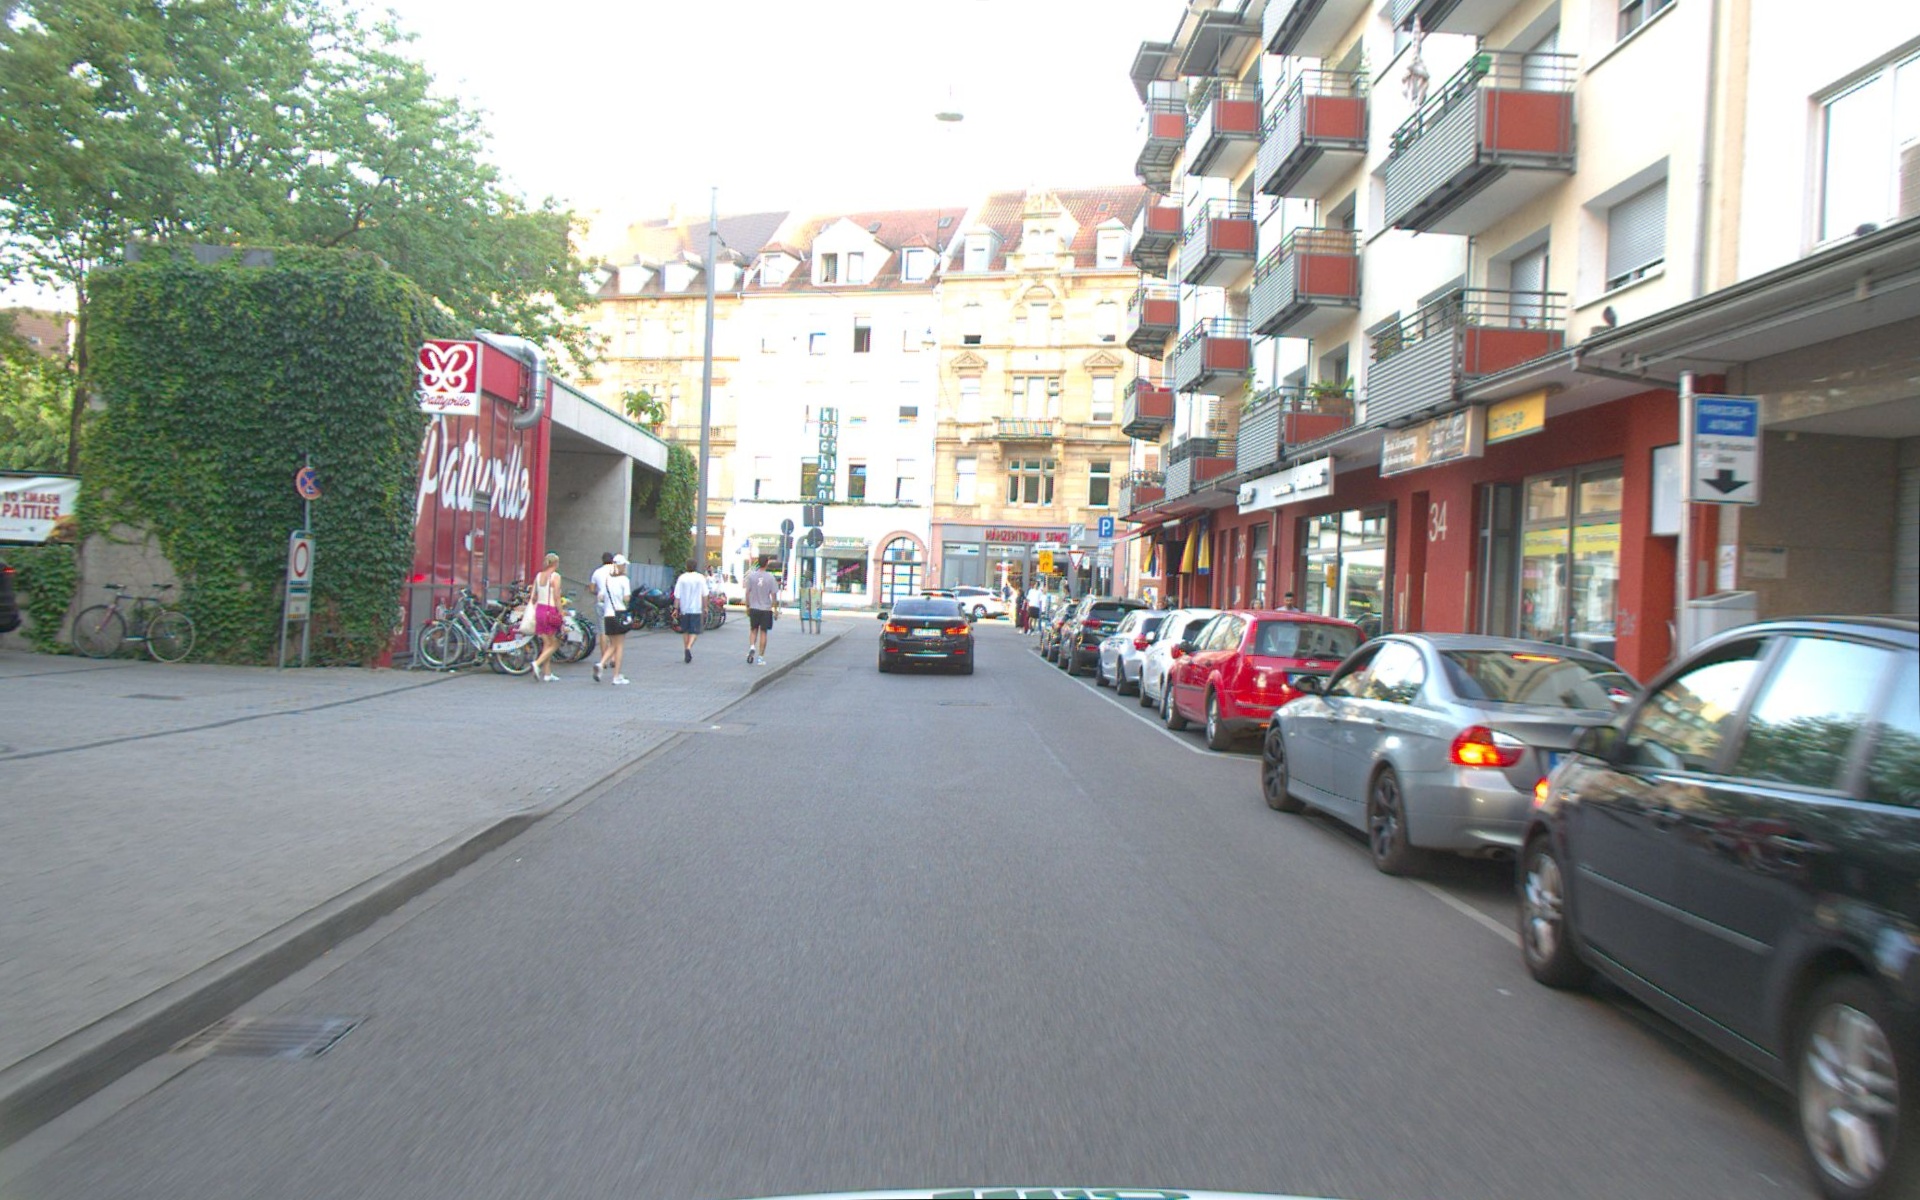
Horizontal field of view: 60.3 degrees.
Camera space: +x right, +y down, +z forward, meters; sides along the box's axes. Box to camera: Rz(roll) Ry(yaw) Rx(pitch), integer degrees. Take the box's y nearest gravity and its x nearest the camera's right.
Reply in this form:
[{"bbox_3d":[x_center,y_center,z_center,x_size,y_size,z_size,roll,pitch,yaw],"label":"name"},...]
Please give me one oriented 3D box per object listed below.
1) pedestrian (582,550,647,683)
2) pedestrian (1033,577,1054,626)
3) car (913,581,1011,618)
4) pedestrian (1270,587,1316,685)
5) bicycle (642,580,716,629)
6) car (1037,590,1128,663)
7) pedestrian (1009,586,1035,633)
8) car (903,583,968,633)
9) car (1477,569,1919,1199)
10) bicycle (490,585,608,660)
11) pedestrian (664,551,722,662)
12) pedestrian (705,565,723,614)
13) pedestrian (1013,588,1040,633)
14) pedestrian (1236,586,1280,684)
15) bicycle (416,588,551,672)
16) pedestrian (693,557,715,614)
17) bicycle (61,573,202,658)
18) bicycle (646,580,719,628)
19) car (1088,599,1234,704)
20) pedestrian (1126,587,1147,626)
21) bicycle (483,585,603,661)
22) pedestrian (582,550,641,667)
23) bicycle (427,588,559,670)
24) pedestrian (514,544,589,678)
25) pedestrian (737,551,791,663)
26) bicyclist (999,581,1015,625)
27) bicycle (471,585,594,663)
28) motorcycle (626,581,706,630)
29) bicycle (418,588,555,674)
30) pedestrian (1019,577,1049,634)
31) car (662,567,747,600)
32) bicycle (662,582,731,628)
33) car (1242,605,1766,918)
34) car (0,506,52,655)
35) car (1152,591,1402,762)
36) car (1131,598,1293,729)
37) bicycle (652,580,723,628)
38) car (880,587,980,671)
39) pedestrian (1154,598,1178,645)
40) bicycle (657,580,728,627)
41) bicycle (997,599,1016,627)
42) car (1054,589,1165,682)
[{"bbox_3d":[-4.821,0.220,23.124,0.636,1.780,0.985,3,0,-2],"label":"pedestrian"},{"bbox_3d":[3.054,0.054,60.318,0.592,1.776,0.670,2,0,13],"label":"pedestrian"},{"bbox_3d":[0.106,-0.016,79.172,4.263,1.589,1.868,2,0,21],"label":"car"},{"bbox_3d":[5.835,0.625,29.014,0.635,1.690,0.794,-1,0,1],"label":"pedestrian"},{"bbox_3d":[-7.181,0.109,42.325,1.758,1.127,0.500,4,0,-2],"label":"bicycle"},{"bbox_3d":[2.982,0.609,41.111,1.729,1.528,4.790,5,1,-1],"label":"car"},{"bbox_3d":[2.224,0.348,59.394,0.711,1.636,0.649,4,0,-10],"label":"pedestrian"},{"bbox_3d":[-0.763,0.240,53.736,1.838,1.498,4.002,2,1,3],"label":"car"},{"bbox_3d":[3.320,0.800,5.735,1.757,1.637,4.488,5,1,3],"label":"car"},{"bbox_3d":[-6.758,0.365,27.222,1.757,1.127,0.500,3,0,2],"label":"bicycle"},{"bbox_3d":[-4.645,0.101,28.819,0.726,1.844,1.008,4,0,-2],"label":"pedestrian"},{"bbox_3d":[-8.371,-0.362,56.356,0.490,1.671,0.521,2,0,1],"label":"pedestrian"},{"bbox_3d":[2.356,0.367,58.673,0.722,1.539,0.649,4,0,-10],"label":"pedestrian"},{"bbox_3d":[5.230,0.604,29.040,0.635,1.690,0.655,-1,0,1],"label":"pedestrian"},{"bbox_3d":[-6.882,0.427,23.940,1.758,1.127,0.500,3,0,-3],"label":"bicycle"},{"bbox_3d":[-8.839,-0.503,57.177,0.571,1.915,0.634,2,0,5],"label":"pedestrian"},{"bbox_3d":[-10.965,0.206,21.912,1.626,1.031,0.370,3,0,0],"label":"bicycle"},{"bbox_3d":[-7.197,0.103,42.919,1.757,1.127,0.500,4,0,1],"label":"bicycle"},{"bbox_3d":[3.392,0.817,28.691,1.665,1.477,4.456,5,1,-3],"label":"car"},{"bbox_3d":[5.544,0.191,51.954,0.415,1.222,0.529,-1,0,-44],"label":"pedestrian"},{"bbox_3d":[-6.743,0.368,26.752,1.757,1.127,0.500,3,0,2],"label":"bicycle"},{"bbox_3d":[-5.473,0.125,25.999,0.702,1.785,0.848,2,0,-2],"label":"pedestrian"},{"bbox_3d":[-6.895,0.421,24.475,1.758,1.127,0.500,3,0,-3],"label":"bicycle"},{"bbox_3d":[-5.669,0.139,22.985,0.738,1.780,0.846,4,0,-2],"label":"pedestrian"},{"bbox_3d":[-3.489,0.119,29.526,0.729,1.926,1.050,3,0,-1],"label":"pedestrian"},{"bbox_3d":[1.939,0.134,68.089,0.512,1.787,0.620,3,0,8],"label":"bicyclist"},{"bbox_3d":[-6.746,0.378,26.119,1.757,1.127,0.500,3,0,2],"label":"bicycle"},{"bbox_3d":[-7.270,0.144,40.890,1.765,1.082,0.764,4,0,25],"label":"motorcycle"},{"bbox_3d":[-6.748,0.432,23.597,1.758,1.127,0.500,3,0,-2],"label":"bicycle"},{"bbox_3d":[2.538,0.195,56.759,0.671,1.910,0.691,3,0,-39],"label":"pedestrian"},{"bbox_3d":[-13.092,-0.830,84.824,3.905,1.537,1.800,2,0,21],"label":"car"},{"bbox_3d":[-7.239,0.136,45.472,1.758,1.127,0.500,4,0,-2],"label":"bicycle"},{"bbox_3d":[3.293,0.871,11.112,1.702,1.439,4.680,5,1,-3],"label":"car"},{"bbox_3d":[-13.552,-0.298,19.838,4.133,1.790,2.067,2,1,1],"label":"car"},{"bbox_3d":[3.466,0.759,18.980,1.678,1.538,4.650,5,1,-3],"label":"car"},{"bbox_3d":[3.482,0.821,23.515,1.574,1.538,4.048,5,1,0],"label":"car"},{"bbox_3d":[-7.191,0.101,43.669,1.760,1.127,0.499,4,0,-6],"label":"bicycle"},{"bbox_3d":[-0.567,0.501,32.011,1.729,1.398,4.790,3,1,-1],"label":"car"},{"bbox_3d":[6.146,0.634,49.308,0.594,1.371,0.696,1,0,-2],"label":"pedestrian"},{"bbox_3d":[-7.167,0.098,44.373,1.759,1.127,0.500,4,0,-4],"label":"bicycle"},{"bbox_3d":[1.931,0.529,68.112,0.525,1.127,1.801,3,0,8],"label":"bicycle"},{"bbox_3d":[3.099,0.699,35.222,1.729,1.670,4.790,5,1,-1],"label":"car"}]
